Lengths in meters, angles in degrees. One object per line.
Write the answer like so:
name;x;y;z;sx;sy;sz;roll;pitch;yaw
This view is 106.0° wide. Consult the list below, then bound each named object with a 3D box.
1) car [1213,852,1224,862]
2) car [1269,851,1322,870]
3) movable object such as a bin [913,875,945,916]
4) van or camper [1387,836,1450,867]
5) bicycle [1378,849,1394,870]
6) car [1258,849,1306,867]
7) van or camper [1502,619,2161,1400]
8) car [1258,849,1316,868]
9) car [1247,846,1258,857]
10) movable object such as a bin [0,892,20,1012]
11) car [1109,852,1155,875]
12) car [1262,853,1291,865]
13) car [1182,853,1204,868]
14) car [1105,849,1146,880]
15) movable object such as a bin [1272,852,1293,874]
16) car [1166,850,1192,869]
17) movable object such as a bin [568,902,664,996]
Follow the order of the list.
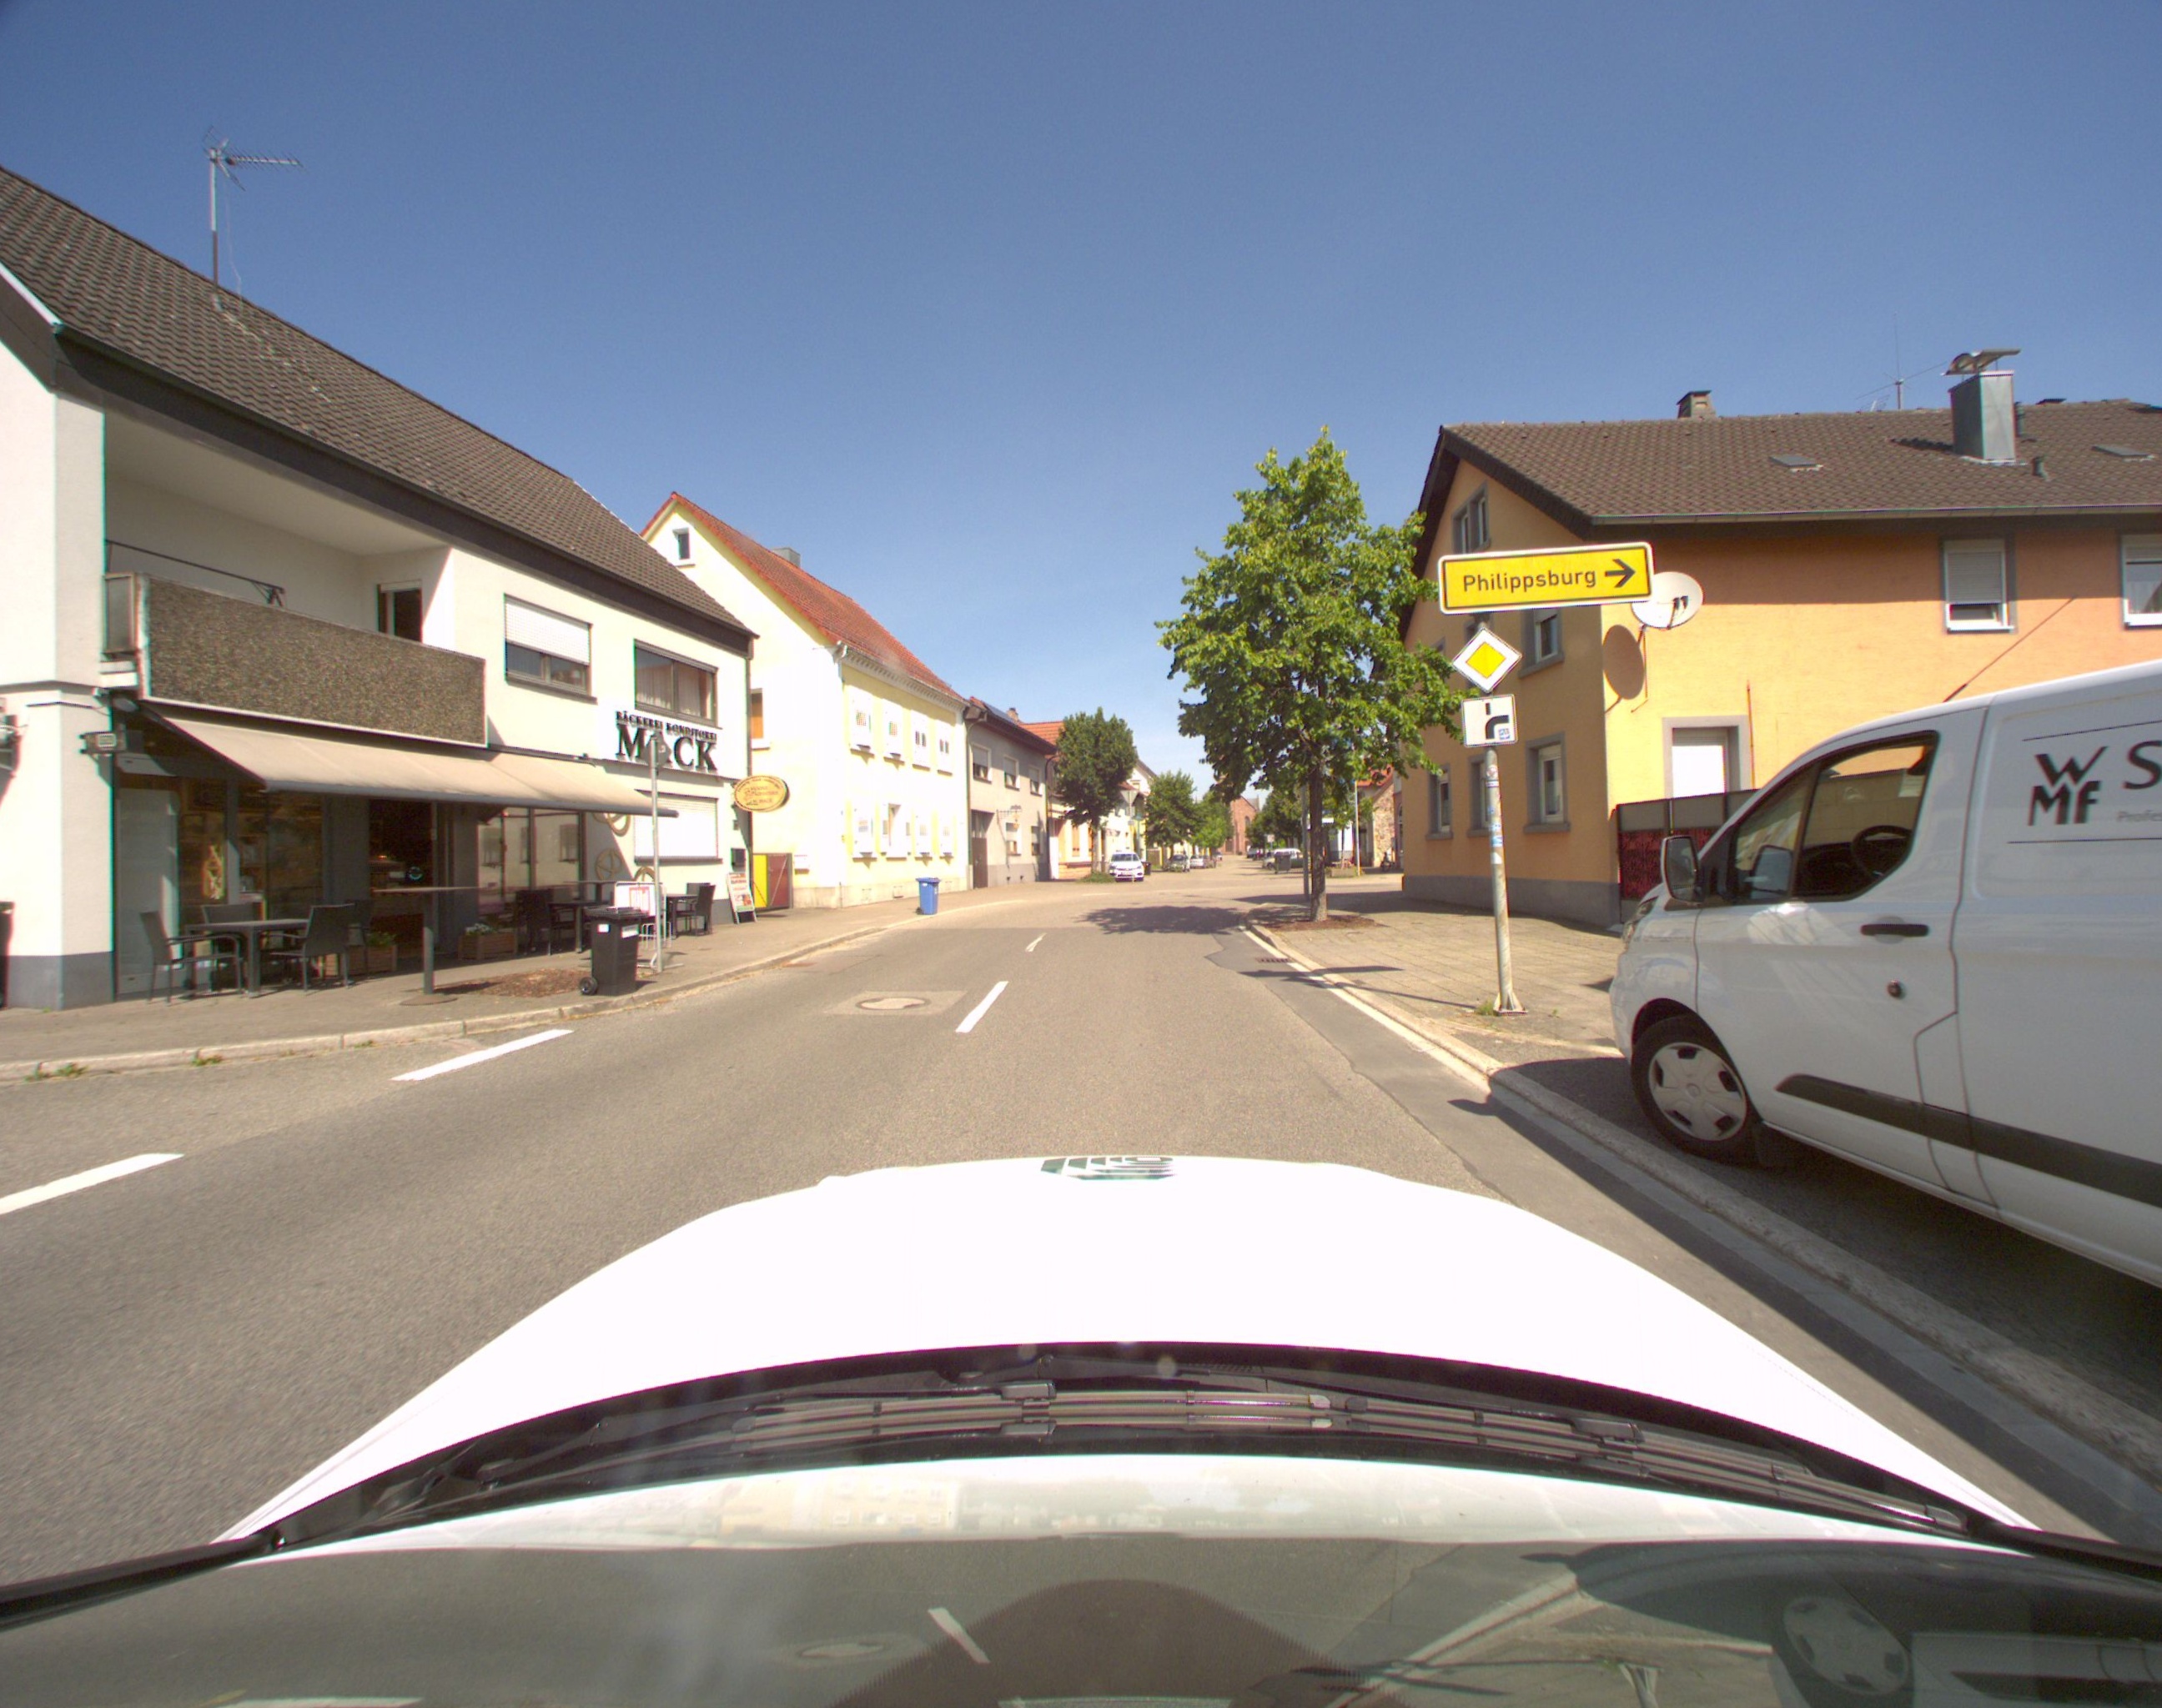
car;25.927;0.590;153.579;1.982;1.816;4.009;-2;0;8
car;16.684;0.485;63.571;3.898;1.344;2.006;-1;0;11
movable object such as a bin;-3.840;1.046;20.577;0.640;0.980;0.614;-1;0;4
van or camper;23.552;-0.145;56.944;3.953;2.013;2.010;-2;0;20
bicycle;16.618;0.288;44.415;0.589;1.136;1.755;-2;0;15
car;17.933;0.353;72.839;4.123;1.568;2.006;-1;0;11
van or camper;3.703;0.372;2.653;1.986;1.953;5.347;-1;0;1
car;17.656;0.379;70.082;4.772;1.623;2.006;0;-1;11
car;35.416;-0.493;167.885;2.230;2.279;4.517;0;-1;12
movable object such as a bin;-10.646;0.944;7.615;0.667;1.137;0.647;-1;0;13
car;3.541;0.611;55.449;1.969;1.440;5.233;-1;0;16
car;28.536;0.667;118.802;3.962;1.618;2.006;-2;0;10
car;11.526;0.643;84.051;1.984;1.464;4.006;-1;0;5
car;2.198;0.512;41.138;1.843;1.440;4.513;-1;0;0
movable object such as a bin;12.667;0.538;51.230;1.179;1.338;0.792;-2;0;15
car;8.851;0.487;73.395;1.981;1.574;4.012;-2;0;10
movable object such as a bin;-4.966;1.001;8.727;0.640;0.924;0.614;-1;0;1
